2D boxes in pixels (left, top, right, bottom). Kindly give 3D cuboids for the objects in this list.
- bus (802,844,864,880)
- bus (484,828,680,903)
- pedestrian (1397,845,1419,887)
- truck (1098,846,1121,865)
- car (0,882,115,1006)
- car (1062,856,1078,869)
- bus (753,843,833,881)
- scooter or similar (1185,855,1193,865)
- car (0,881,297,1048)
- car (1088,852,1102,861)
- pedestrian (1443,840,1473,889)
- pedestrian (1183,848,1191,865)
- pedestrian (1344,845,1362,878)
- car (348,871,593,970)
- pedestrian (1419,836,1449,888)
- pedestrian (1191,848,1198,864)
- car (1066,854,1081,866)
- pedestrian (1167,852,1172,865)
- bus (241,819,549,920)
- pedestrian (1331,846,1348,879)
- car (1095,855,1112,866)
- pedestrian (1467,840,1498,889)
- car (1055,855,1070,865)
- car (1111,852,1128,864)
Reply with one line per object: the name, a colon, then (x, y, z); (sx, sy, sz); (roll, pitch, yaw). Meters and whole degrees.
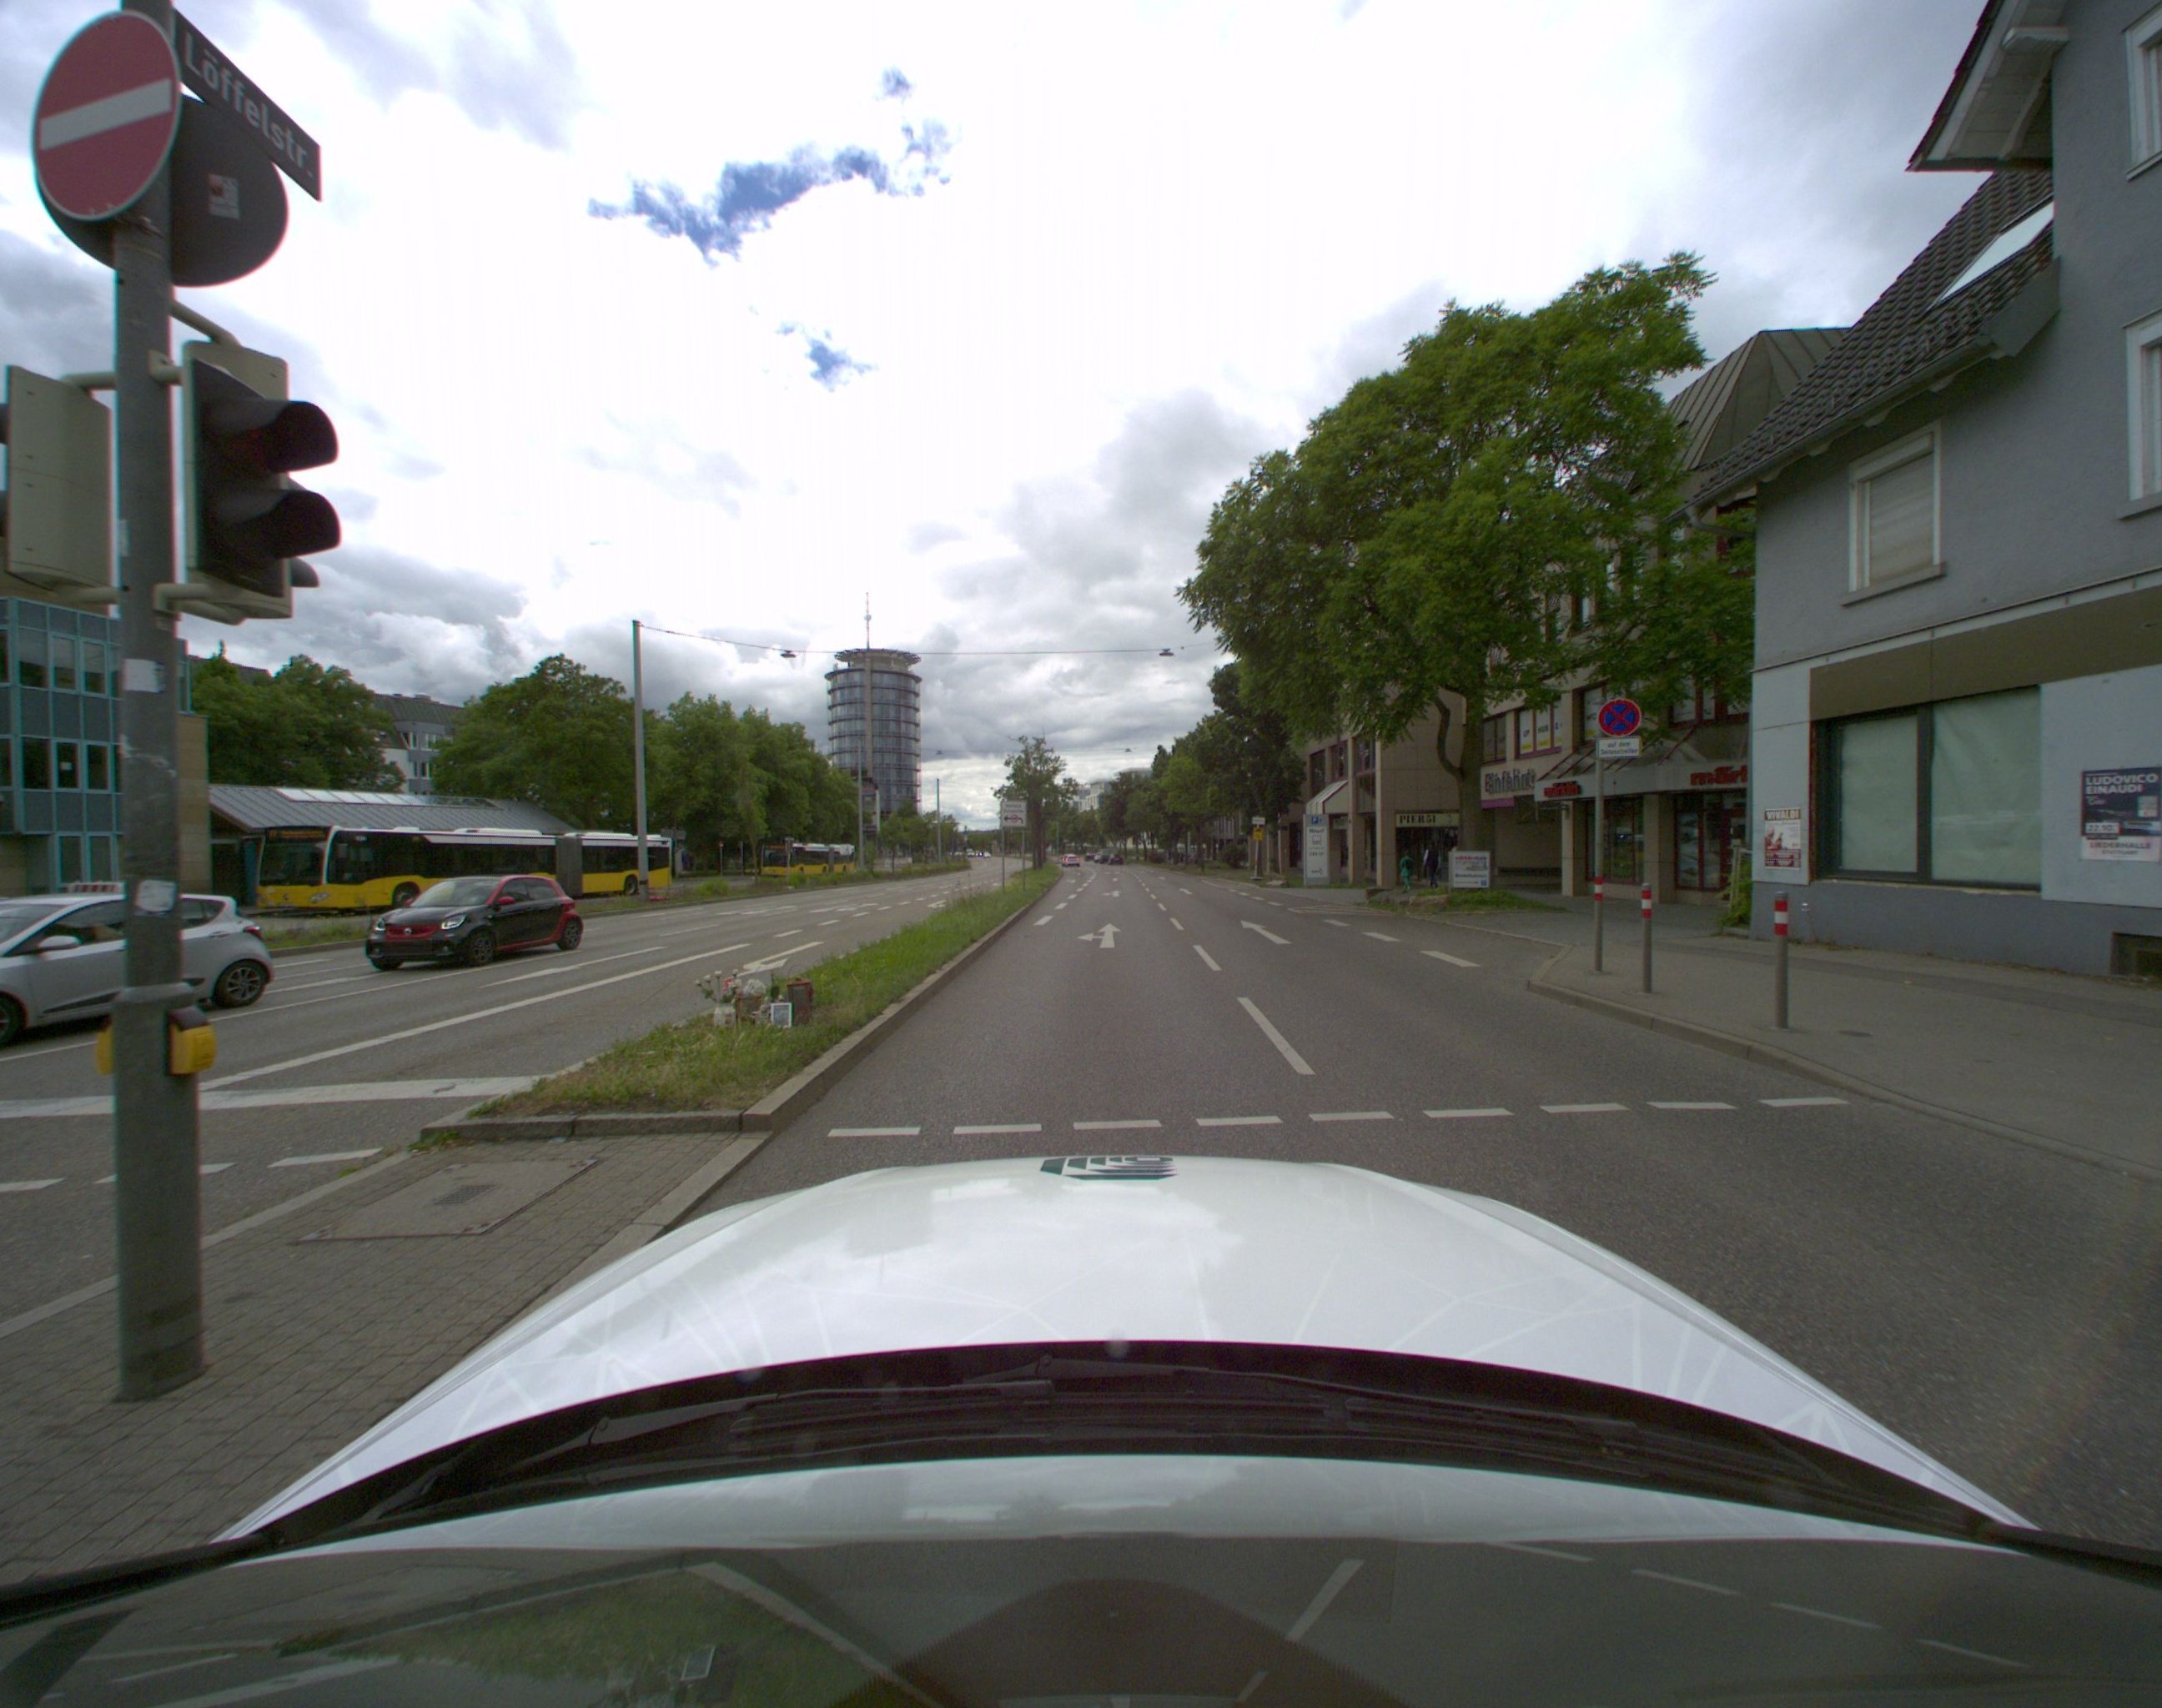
bus: (-25.333, 0.758, 83.807); (3.019, 3.455, 9.916); (0, 0, 2)
bus: (-23.626, 0.489, 39.408); (2.794, 3.132, 9.318); (1, 0, 7)
pedestrian: (12.454, 0.444, 30.991); (0.559, 1.550, 0.544); (-3, -1, 2)
truck: (4.016, 0.250, 116.021); (2.852, 2.519, 6.282); (-1, -1, -2)
car: (-14.342, 1.138, 9.275); (1.807, 1.508, 4.003); (-1, -1, 3)
car: (-1.516, 1.096, 110.216); (1.988, 1.672, 3.997); (-1, -1, -2)
bus: (-25.650, 0.655, 73.299); (3.072, 3.163, 10.741); (0, 0, 2)
scooter or similar: (11.132, 0.578, 83.801); (0.583, 0.994, 0.845); (-3, 0, -6)
car: (-11.175, 1.112, 8.793); (1.740, 1.465, 3.789); (-1, 1, -1)
car: (2.402, 0.486, 142.007); (1.992, 1.508, 3.990); (-1, -1, -7)
pedestrian: (13.610, 0.374, 29.413); (0.655, 1.691, 0.843); (-3, -1, 2)
pedestrian: (11.050, 0.270, 84.707); (0.554, 1.652, 0.959); (-3, 0, -6)
pedestrian: (14.233, 0.393, 42.635); (0.592, 1.705, 0.970); (-1, 0, 3)
car: (-10.852, 1.093, 14.864); (1.654, 1.508, 3.766); (-1, -1, -1)
pedestrian: (12.794, 0.297, 29.540); (0.655, 1.826, 0.843); (-3, -1, 2)
pedestrian: (11.831, 0.186, 84.869); (0.565, 1.700, 0.830); (-1, -1, 2)
car: (-0.939, 0.729, 103.108); (1.857, 1.449, 3.999); (-1, -1, 0)
pedestrian: (12.011, 0.605, 110.562); (0.607, 1.775, 0.953); (-1, 2, -2)
bus: (-24.638, 0.466, 30.275); (2.762, 3.132, 9.453); (1, 0, 6)
pedestrian: (13.515, 0.442, 42.668); (0.592, 1.705, 0.970); (-1, 0, 3)
car: (3.396, 0.934, 123.094); (1.990, 1.508, 3.993); (-2, 0, -5)
pedestrian: (14.460, 0.380, 29.335); (0.655, 1.691, 0.843); (-3, -1, 2)
car: (-2.917, 0.905, 130.604); (1.985, 1.508, 4.003); (-1, 0, 3)
car: (4.996, 0.513, 105.546); (1.988, 1.596, 3.998); (-1, 0, -1)
